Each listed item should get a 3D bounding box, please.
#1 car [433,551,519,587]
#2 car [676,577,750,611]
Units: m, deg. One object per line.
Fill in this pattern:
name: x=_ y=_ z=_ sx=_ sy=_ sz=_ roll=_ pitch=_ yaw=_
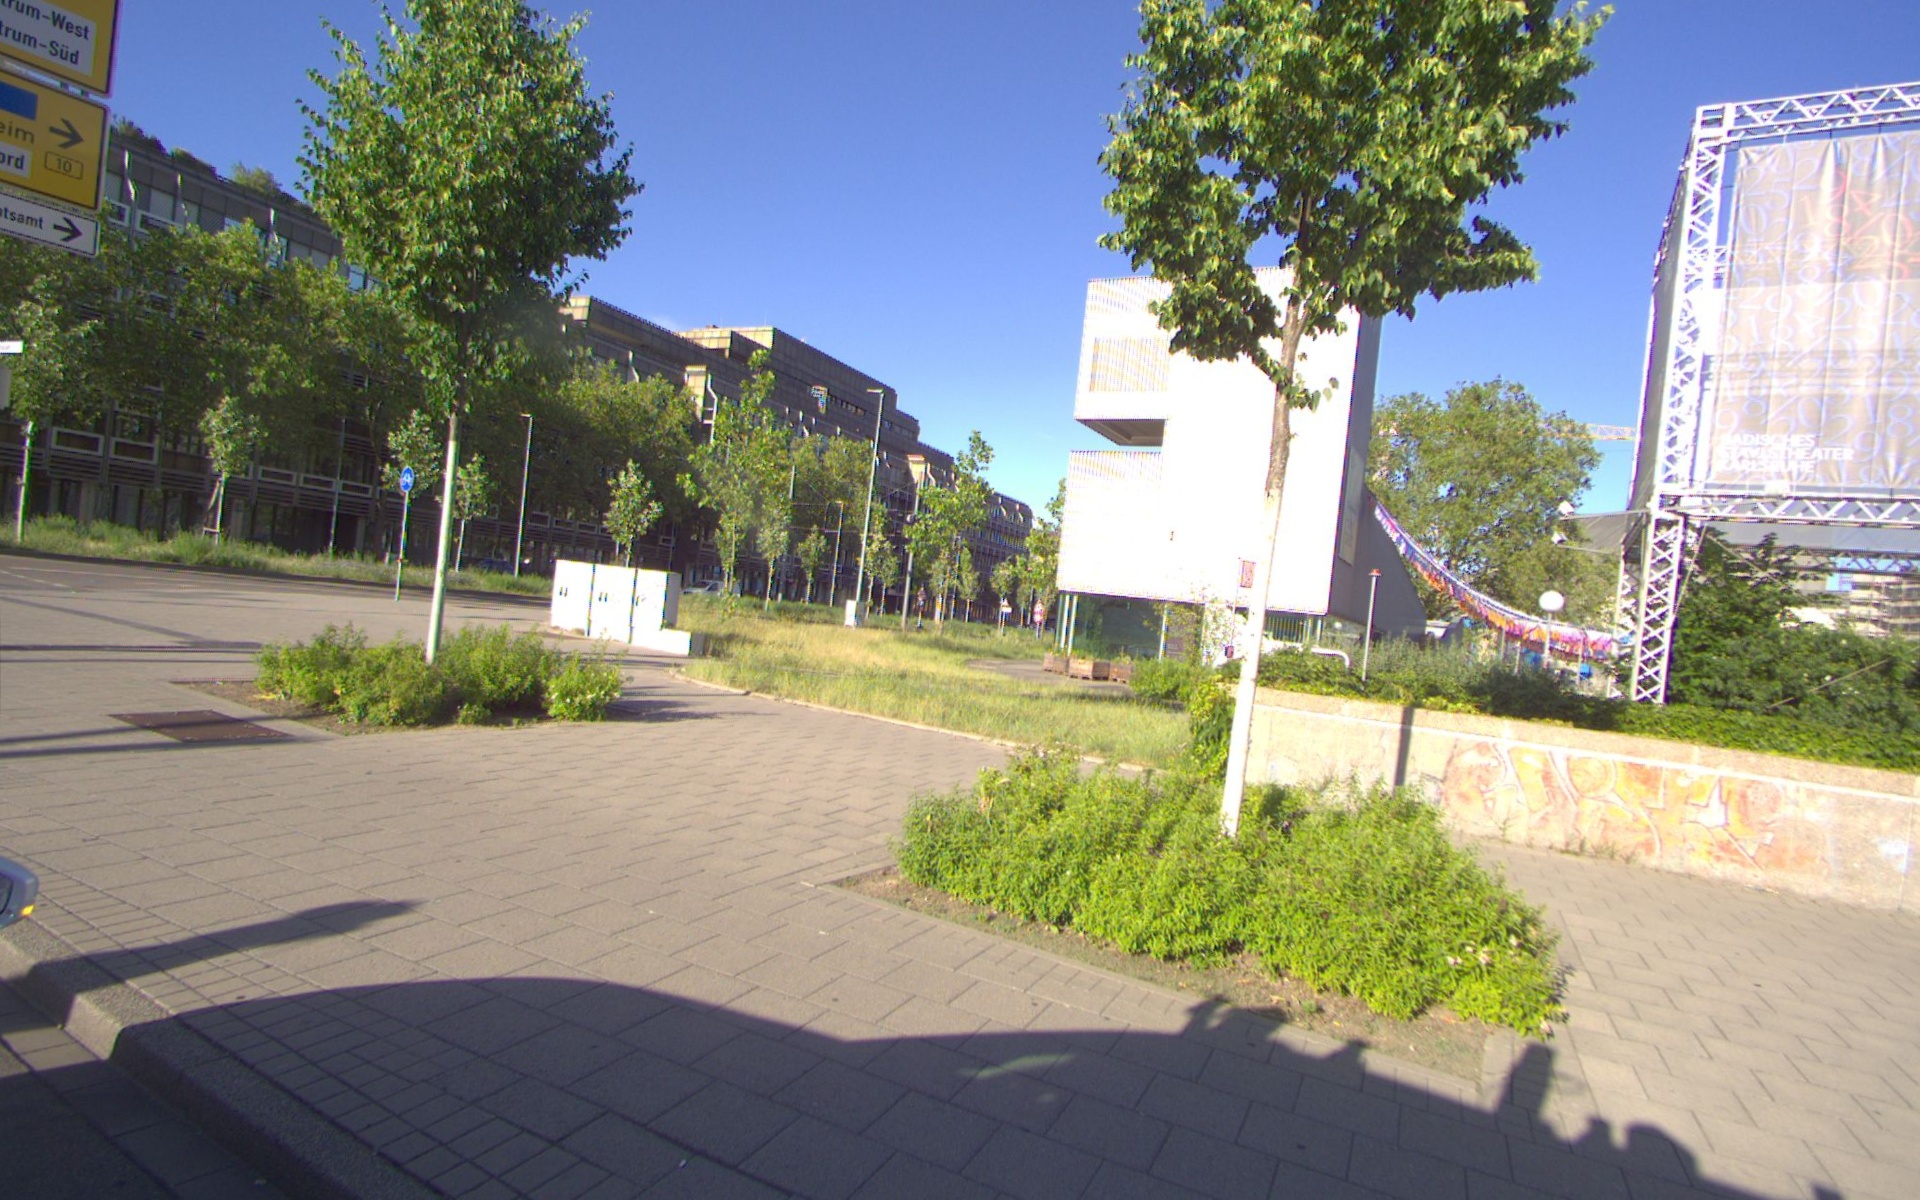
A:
car: x=-31.752 y=-1.980 z=66.145 sx=1.964 sy=1.700 sz=4.868 roll=8 pitch=-1 yaw=23
car: x=-18.506 y=-0.412 z=75.698 sx=2.226 sy=2.037 sz=5.705 roll=4 pitch=-2 yaw=25
